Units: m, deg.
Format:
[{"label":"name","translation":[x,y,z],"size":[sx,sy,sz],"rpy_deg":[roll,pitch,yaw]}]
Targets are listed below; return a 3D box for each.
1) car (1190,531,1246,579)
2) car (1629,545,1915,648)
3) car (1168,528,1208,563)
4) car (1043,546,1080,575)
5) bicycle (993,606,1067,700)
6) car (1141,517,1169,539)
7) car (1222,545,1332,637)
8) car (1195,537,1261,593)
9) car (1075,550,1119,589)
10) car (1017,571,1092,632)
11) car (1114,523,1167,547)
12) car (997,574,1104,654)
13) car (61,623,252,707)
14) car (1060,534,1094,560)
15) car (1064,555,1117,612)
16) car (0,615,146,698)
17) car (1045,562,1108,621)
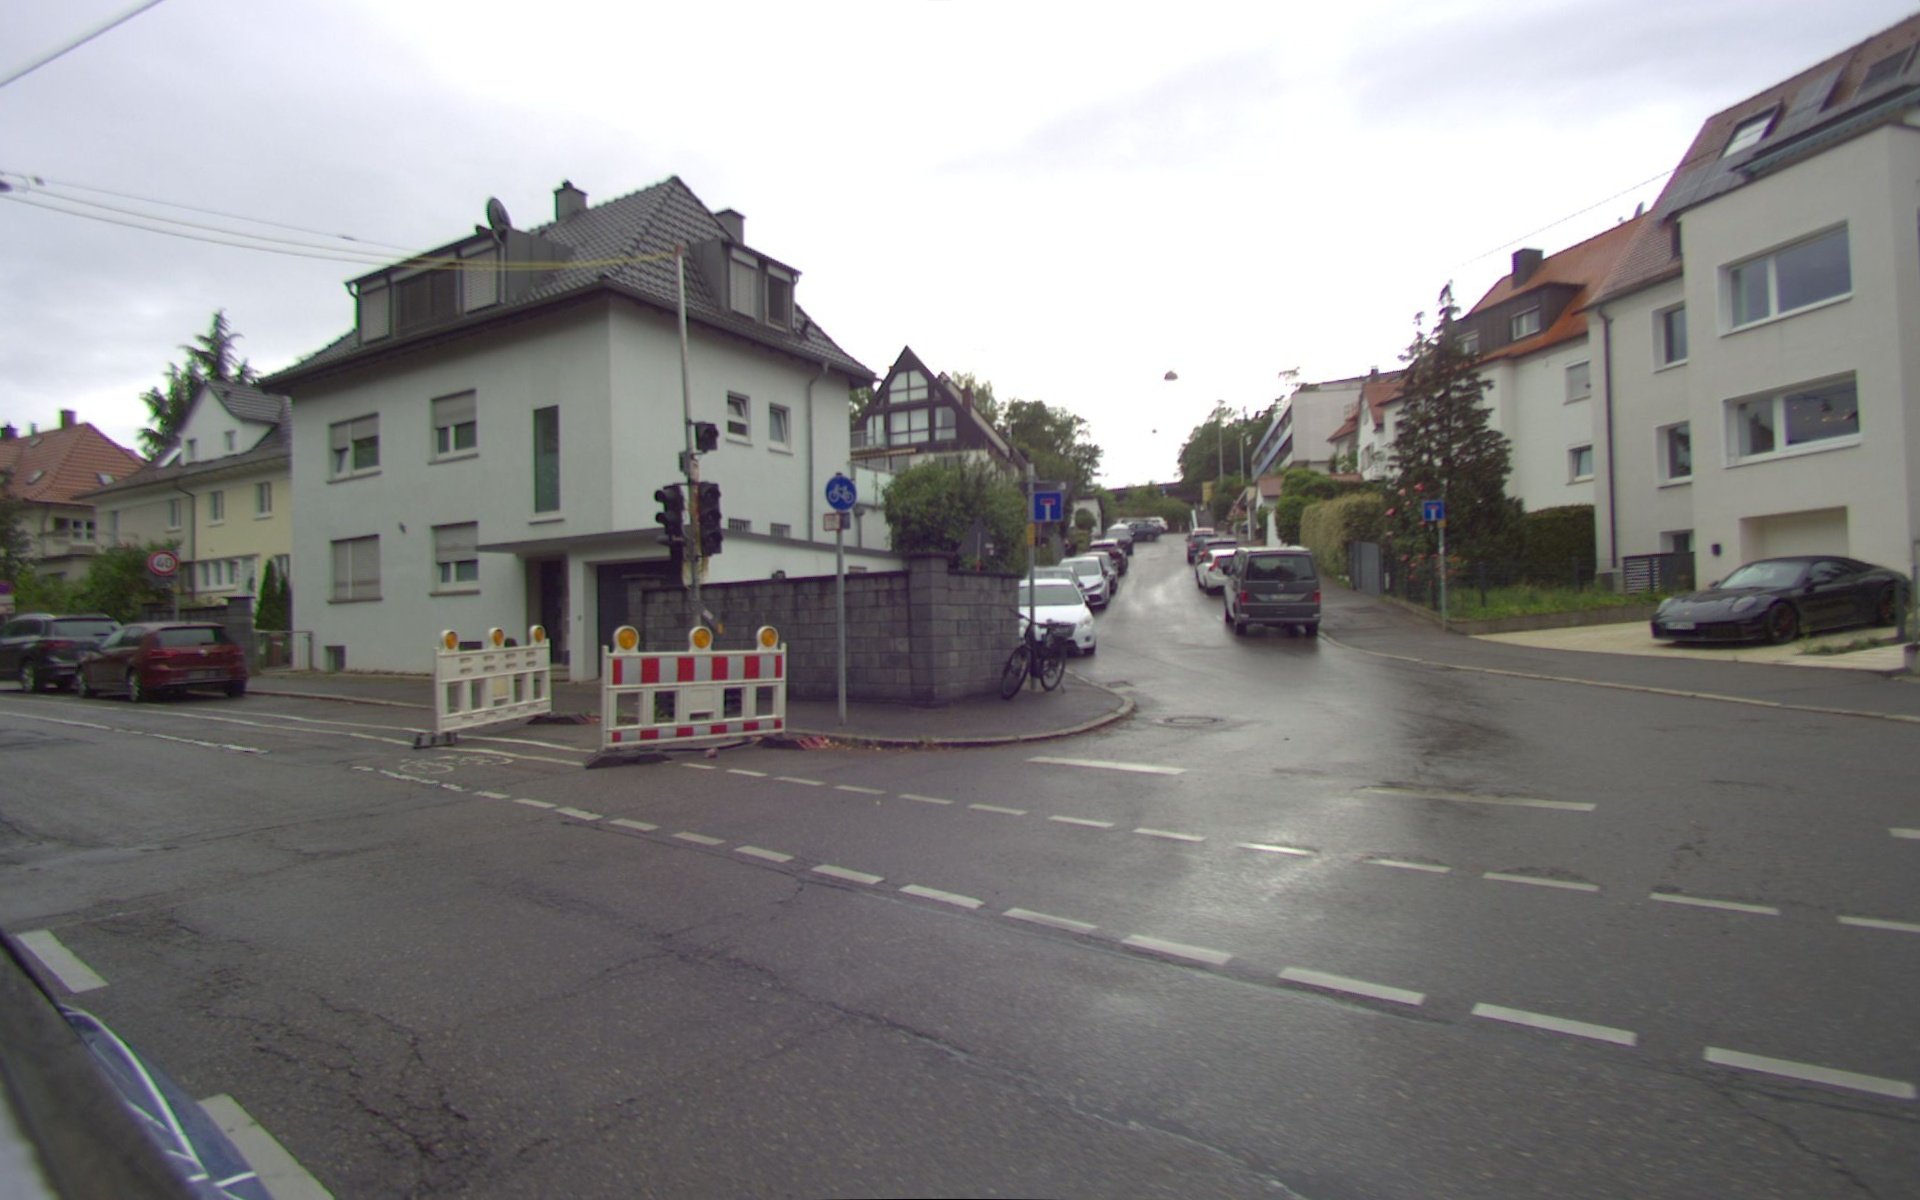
[{"label":"car","translation":[10.270,-1.835,40.452],"size":[1.848,1.758,3.989],"rpy_deg":[-1,4,10]},{"label":"car","translation":[13.444,-0.072,16.828],"size":[3.755,1.519,1.739],"rpy_deg":[-2,0,-14]},{"label":"car","translation":[11.961,-2.911,53.286],"size":[1.848,1.758,3.989],"rpy_deg":[-1,4,10]},{"label":"car","translation":[6.346,-2.488,63.527],"size":[1.865,1.733,4.000],"rpy_deg":[-1,2,0]},{"label":"bicycle","translation":[0.965,0.686,13.663],"size":[0.461,1.132,1.505],"rpy_deg":[0,2,26]},{"label":"car","translation":[19.112,-7.023,99.194],"size":[1.986,2.028,3.973],"rpy_deg":[0,2,21]},{"label":"car","translation":[7.462,-0.300,24.184],"size":[1.978,1.933,3.989],"rpy_deg":[-1,4,10]},{"label":"car","translation":[9.268,-1.258,35.215],"size":[1.848,1.758,3.989],"rpy_deg":[-1,4,10]},{"label":"car","translation":[6.469,-1.444,47.378],"size":[1.870,1.733,3.988],"rpy_deg":[-1,2,10]},{"label":"car","translation":[2.576,-0.011,27.453],"size":[1.868,1.477,3.993],"rpy_deg":[-1,2,6]},{"label":"car","translation":[14.038,-5.021,78.643],"size":[3.959,1.733,1.884],"rpy_deg":[0,2,12]},{"label":"car","translation":[1.806,0.225,21.428],"size":[1.865,1.477,4.000],"rpy_deg":[-1,2,0]},{"label":"car","translation":[-15.552,1.220,19.532],"size":[4.216,1.451,1.604],"rpy_deg":[-2,-2,33]},{"label":"car","translation":[7.978,-3.604,69.343],"size":[1.865,1.733,4.000],"rpy_deg":[-1,2,0]},{"label":"car","translation":[4.895,-0.654,38.068],"size":[1.869,2.007,3.992],"rpy_deg":[-1,2,7]},{"label":"car","translation":[-20.025,1.240,22.162],"size":[4.382,1.671,1.744],"rpy_deg":[-2,-3,27]},{"label":"car","translation":[3.728,-0.311,32.254],"size":[1.869,1.733,3.992],"rpy_deg":[-1,2,7]}]
